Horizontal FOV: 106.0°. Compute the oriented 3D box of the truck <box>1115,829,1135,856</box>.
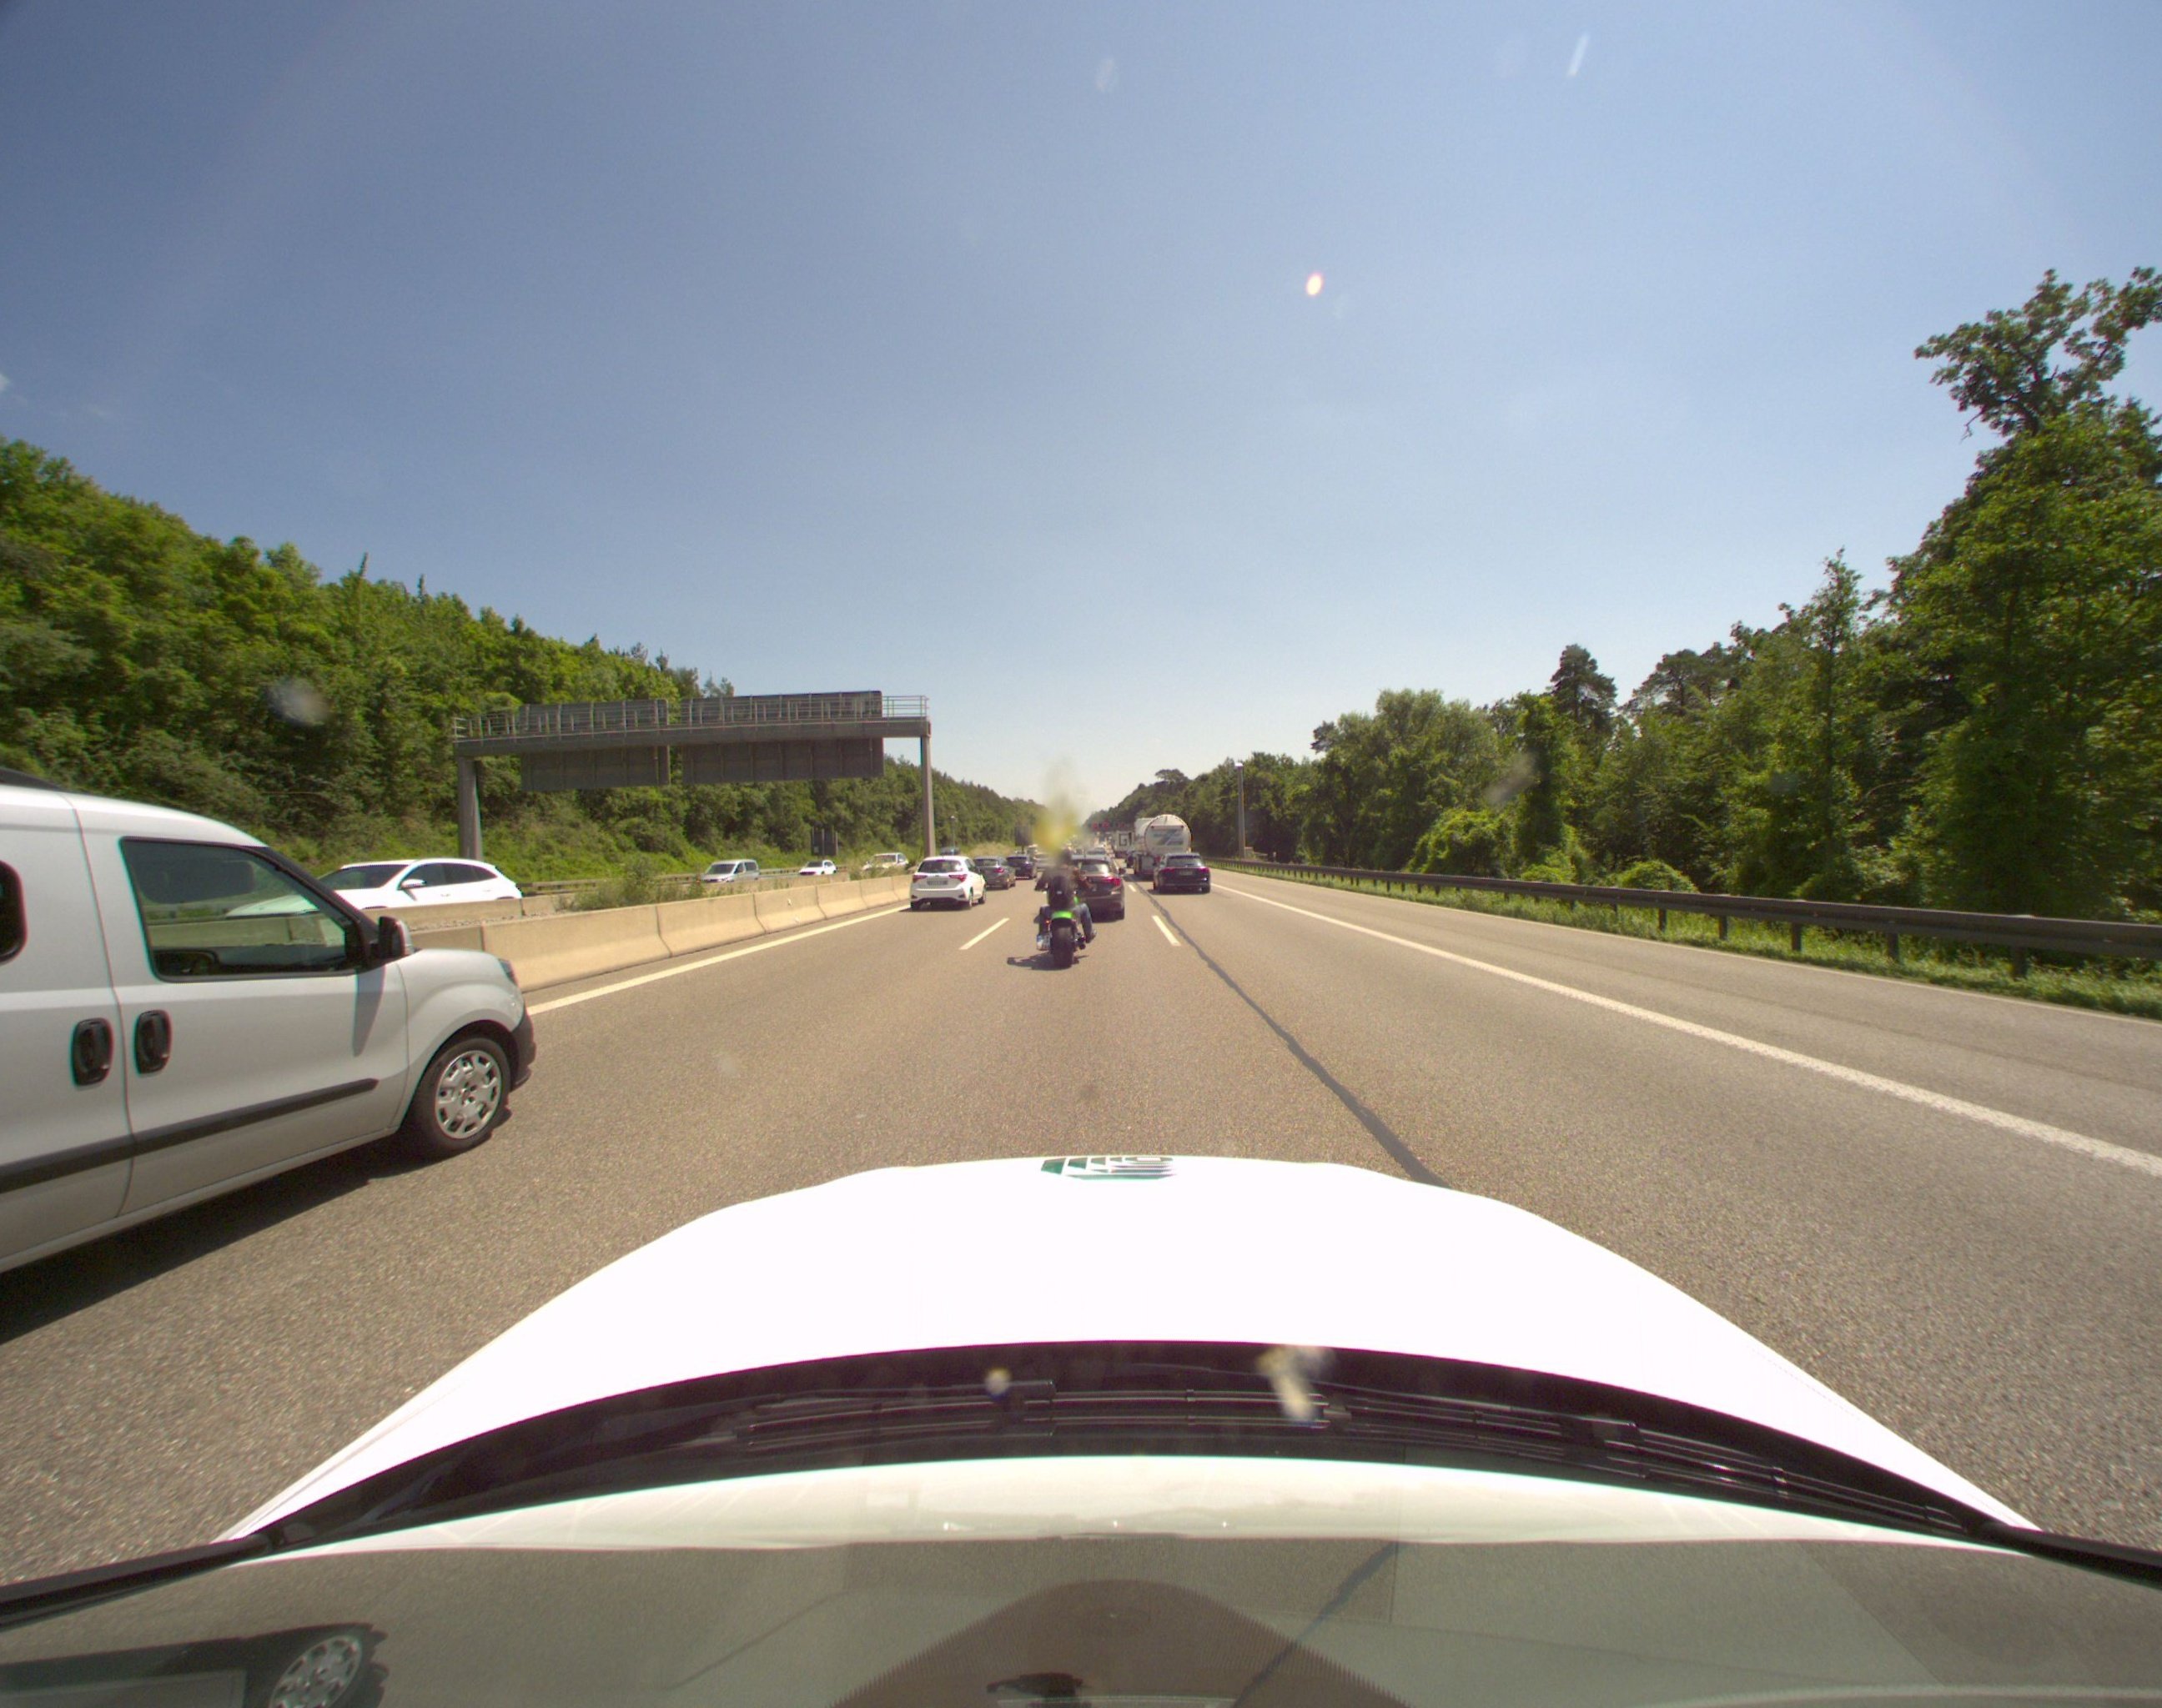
[{"bbox_3d":[6.647,-1.615,122.687,2.841,3.821,7.195,-1,-1,4],"label":"truck"}]

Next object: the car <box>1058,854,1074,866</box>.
[{"bbox_3d":[-1.851,0.752,101.374,1.757,1.442,4.002,-2,0,2],"label":"car"}]

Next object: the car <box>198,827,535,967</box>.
[{"bbox_3d":[-11.759,0.659,13.908,1.987,2.014,4.193,-1,-1,1],"label":"car"}]

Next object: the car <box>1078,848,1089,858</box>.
[{"bbox_3d":[0.415,-0.206,141.702,1.654,1.599,4.002,-1,-1,2],"label":"car"}]

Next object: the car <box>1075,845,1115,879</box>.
[{"bbox_3d":[0.738,0.427,43.118,1.987,1.711,4.000,-1,-1,1],"label":"car"}]

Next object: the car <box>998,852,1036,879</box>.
[{"bbox_3d":[-3.662,0.668,47.329,1.988,1.464,3.996,-1,-1,-2],"label":"car"}]

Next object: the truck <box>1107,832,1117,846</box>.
[{"bbox_3d":[8.478,-4.076,224.990,2.686,3.405,10.481,-2,0,2],"label":"truck"}]

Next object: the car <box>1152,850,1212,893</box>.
[{"bbox_3d":[3.727,0.654,30.663,1.785,1.458,4.625,-1,-1,2],"label":"car"}]

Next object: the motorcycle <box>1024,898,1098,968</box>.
[{"bbox_3d":[-0.243,1.083,11.723,0.932,0.793,2.299,-1,-1,2],"label":"motorcycle"}]

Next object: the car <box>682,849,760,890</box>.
[{"bbox_3d":[-18.940,0.829,43.110,1.986,2.014,4.475,-1,-1,2],"label":"car"}]

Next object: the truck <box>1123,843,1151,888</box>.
[{"bbox_3d":[5.904,1.147,87.359,2.380,4.464,10.869,-1,0,1],"label":"truck"}]

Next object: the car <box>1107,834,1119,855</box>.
[{"bbox_3d":[6.335,-1.852,160.935,2.159,3.893,9.332,-1,-1,2],"label":"car"}]

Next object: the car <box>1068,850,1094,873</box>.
[{"bbox_3d":[0.032,0.610,64.654,1.987,1.775,4.000,-1,-1,1],"label":"car"}]

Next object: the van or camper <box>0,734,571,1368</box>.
[{"bbox_3d":[-4.122,0.590,2.736,1.846,1.880,4.562,-1,0,1],"label":"van or camper"}]

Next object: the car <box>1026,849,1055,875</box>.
[{"bbox_3d":[-3.174,0.658,64.615,1.986,2.014,4.000,-1,-1,1],"label":"car"}]

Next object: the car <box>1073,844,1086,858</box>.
[{"bbox_3d":[-0.212,-0.423,122.829,1.654,1.978,4.002,-1,-1,2],"label":"car"}]

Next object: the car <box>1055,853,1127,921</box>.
[{"bbox_3d":[0.268,0.714,19.559,1.535,1.450,4.001,-1,0,2],"label":"car"}]

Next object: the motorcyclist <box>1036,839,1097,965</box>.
[{"bbox_3d":[-0.189,0.658,11.507,0.796,1.688,1.017,-1,-1,1],"label":"motorcyclist"}]

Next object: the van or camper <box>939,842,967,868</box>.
[{"bbox_3d":[-14.993,0.137,95.705,2.146,2.859,6.653,-1,-1,1],"label":"van or camper"}]

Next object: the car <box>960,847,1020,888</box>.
[{"bbox_3d":[-3.908,0.603,35.673,1.986,1.684,4.331,-1,-1,1],"label":"car"}]

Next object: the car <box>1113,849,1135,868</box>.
[{"bbox_3d":[3.665,0.389,69.990,1.769,1.527,4.001,-1,-1,1],"label":"car"}]

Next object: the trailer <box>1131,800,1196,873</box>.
[{"bbox_3d":[4.476,-0.773,46.237,2.817,3.671,10.735,-1,-1,2],"label":"trailer"}]

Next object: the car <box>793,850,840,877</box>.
[{"bbox_3d":[-20.546,0.780,63.544,2.115,2.014,4.366,-1,-1,2],"label":"car"}]

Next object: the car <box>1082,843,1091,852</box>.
[{"bbox_3d":[1.364,-1.471,193.854,1.986,2.014,4.001,-2,-1,1],"label":"car"}]

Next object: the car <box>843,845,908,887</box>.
[{"bbox_3d":[-10.471,0.611,41.879,1.985,2.014,4.351,-1,-1,4],"label":"car"}]

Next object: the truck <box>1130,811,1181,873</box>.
[{"bbox_3d":[4.643,-0.662,51.727,2.817,3.671,6.431,-1,-1,1],"label":"truck"}]

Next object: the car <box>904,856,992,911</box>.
[{"bbox_3d":[-3.782,0.781,23.792,1.769,1.411,4.002,-1,0,1],"label":"car"}]
